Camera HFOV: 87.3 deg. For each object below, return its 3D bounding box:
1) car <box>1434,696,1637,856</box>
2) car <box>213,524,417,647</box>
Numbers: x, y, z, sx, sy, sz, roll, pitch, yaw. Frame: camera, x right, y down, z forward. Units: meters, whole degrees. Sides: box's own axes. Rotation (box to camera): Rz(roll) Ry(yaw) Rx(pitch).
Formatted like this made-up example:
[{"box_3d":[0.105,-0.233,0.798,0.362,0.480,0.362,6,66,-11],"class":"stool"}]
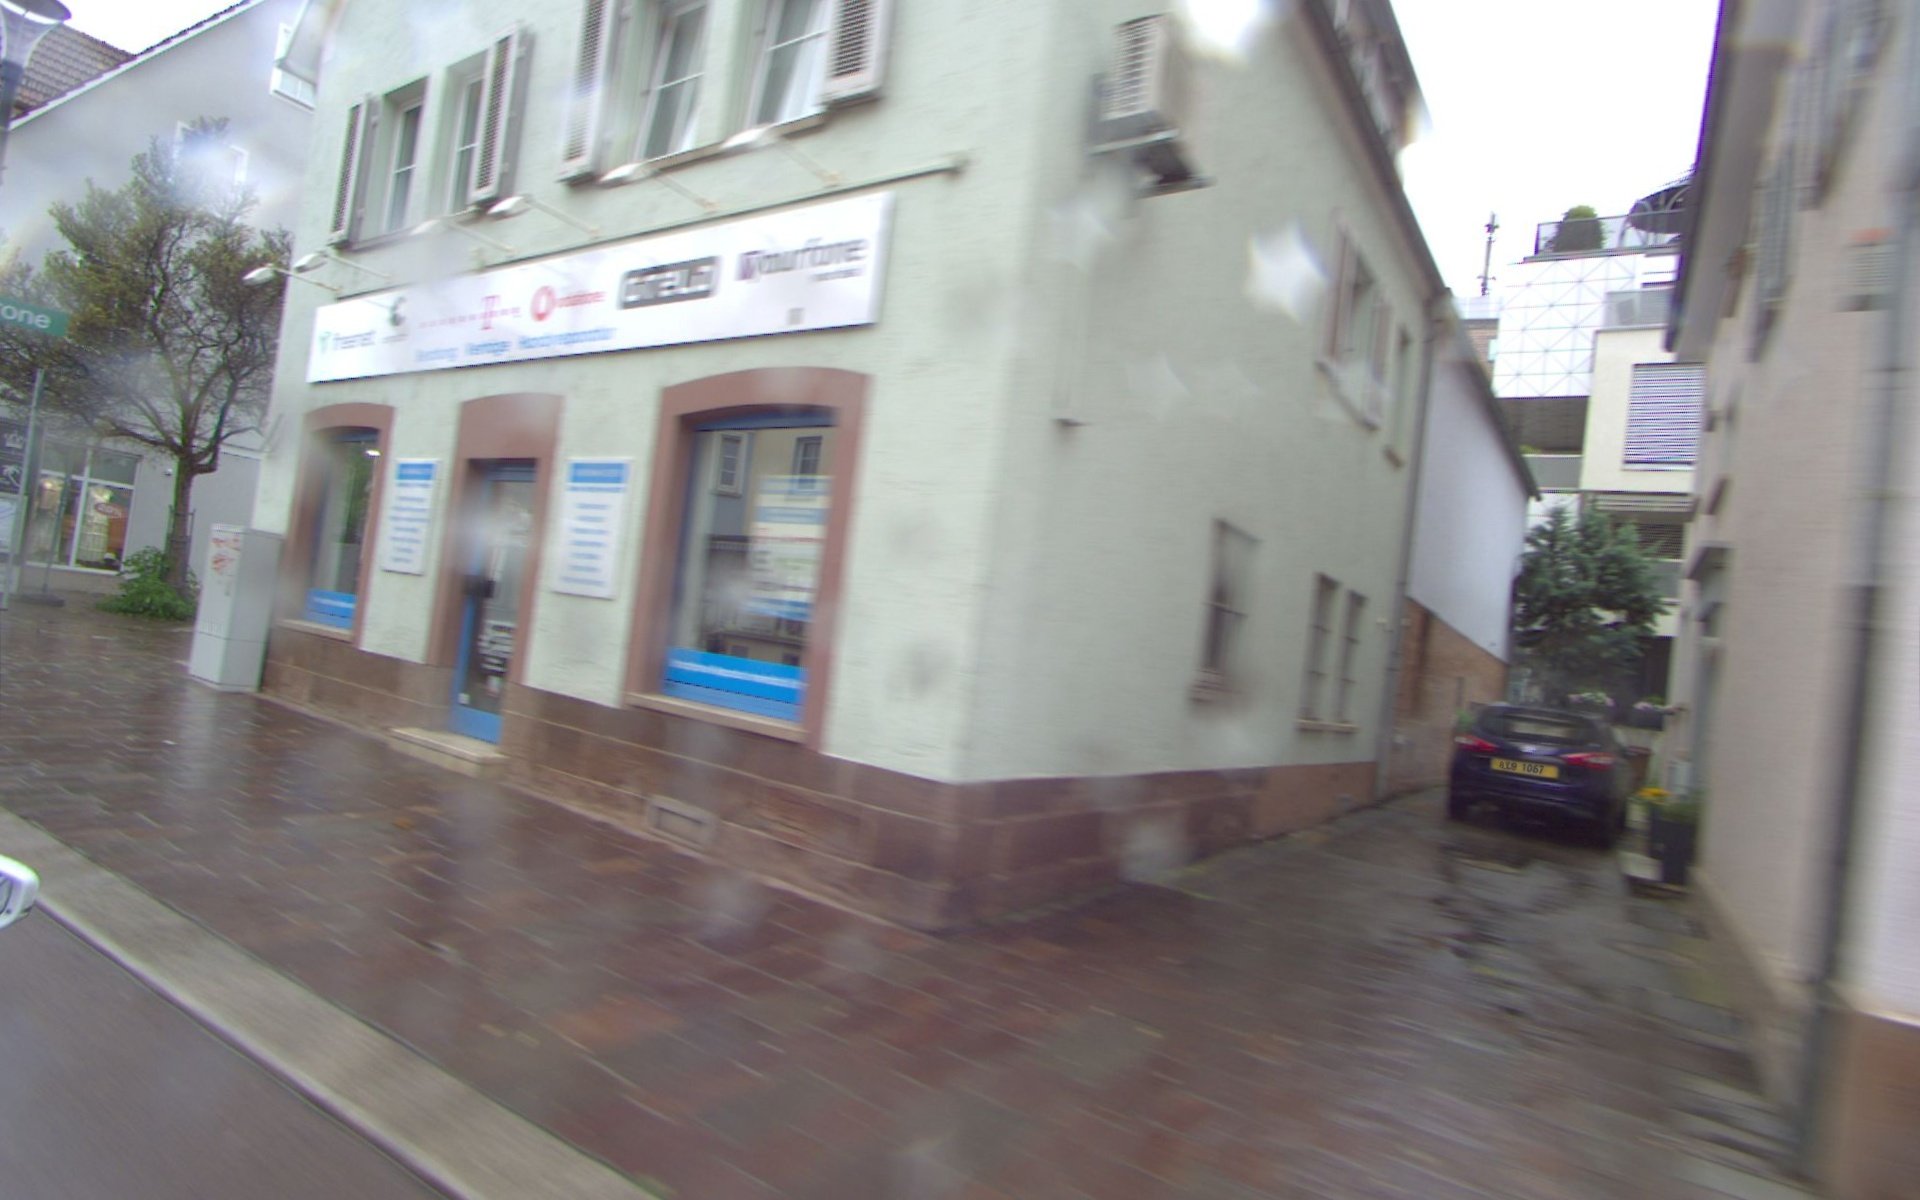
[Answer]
[{"box_3d":[7.395,2.133,12.754,1.808,1.480,3.667,5,-3,35],"class":"car"},{"box_3d":[-11.126,-0.275,17.715,1.798,1.675,4.342,8,-1,-18],"class":"car"}]
